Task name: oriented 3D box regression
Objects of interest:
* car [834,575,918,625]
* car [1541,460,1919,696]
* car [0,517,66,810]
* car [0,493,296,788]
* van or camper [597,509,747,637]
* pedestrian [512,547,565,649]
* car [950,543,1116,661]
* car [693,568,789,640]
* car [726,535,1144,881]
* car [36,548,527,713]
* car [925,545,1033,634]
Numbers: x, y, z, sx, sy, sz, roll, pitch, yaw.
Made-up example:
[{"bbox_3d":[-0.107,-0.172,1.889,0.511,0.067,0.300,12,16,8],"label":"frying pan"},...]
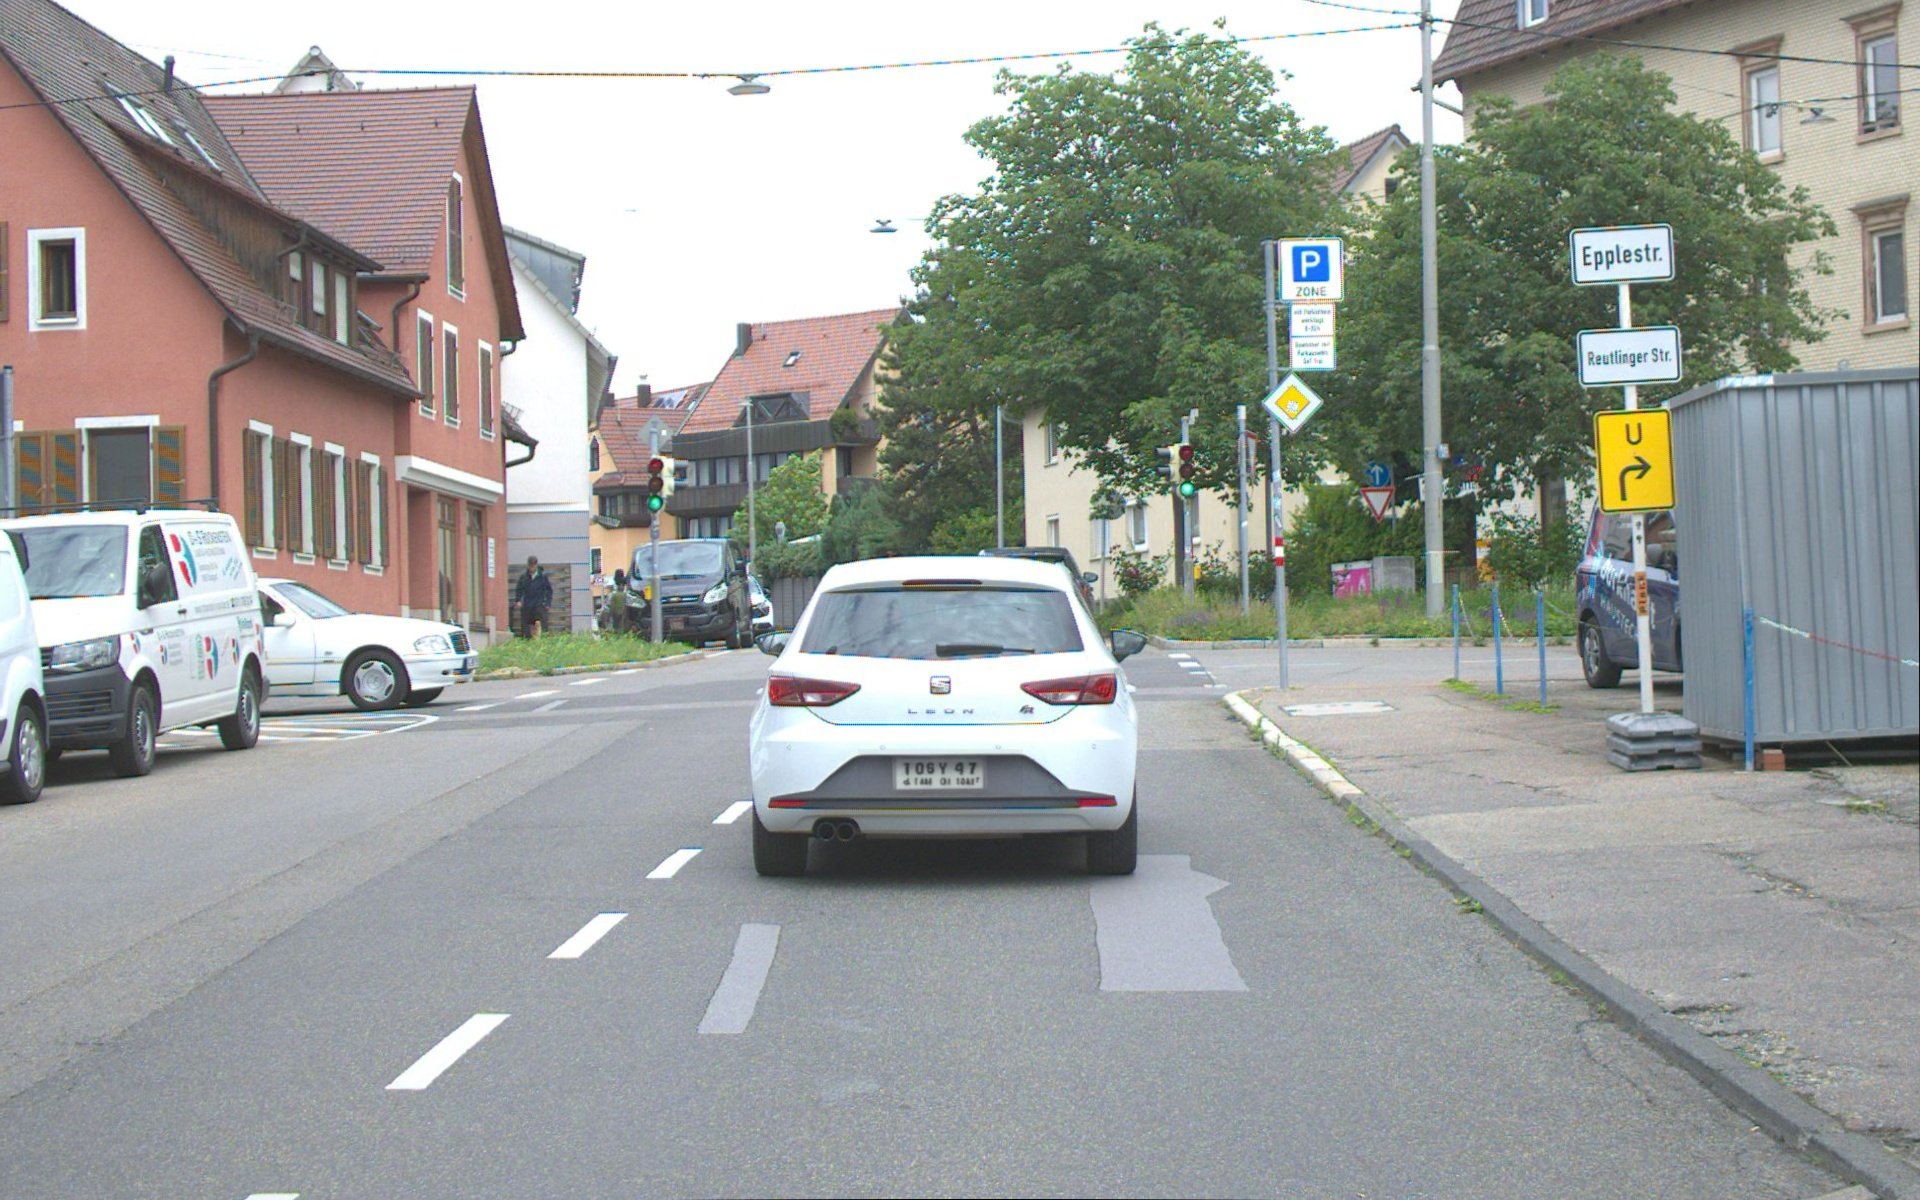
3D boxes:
[{"bbox_3d":[-2.604,0.022,106.050,1.758,1.447,4.001,1,-1,-14],"label":"car"},{"bbox_3d":[6.369,-0.214,28.808,1.746,1.733,4.573,-3,1,-5],"label":"car"},{"bbox_3d":[-6.887,0.457,20.718,1.733,1.825,4.298,-3,1,1],"label":"car"},{"bbox_3d":[-6.599,0.254,26.207,1.812,1.999,4.763,-3,1,3],"label":"car"},{"bbox_3d":[-5.022,-0.436,60.530,2.073,1.999,4.857,-3,-1,1],"label":"van or camper"},{"bbox_3d":[-7.415,-0.036,60.544,0.800,1.778,0.893,-1,1,1],"label":"pedestrian"},{"bbox_3d":[0.905,0.044,44.637,1.758,1.447,4.000,-1,-1,-4],"label":"car"},{"bbox_3d":[-5.150,0.099,80.402,1.997,1.627,4.858,0,0,-7],"label":"car"},{"bbox_3d":[-0.031,0.433,16.640,1.758,1.447,4.000,-1,1,2],"label":"car"},{"bbox_3d":[-6.981,0.294,35.657,4.554,1.440,2.000,-3,1,5],"label":"car"},{"bbox_3d":[0.294,-0.158,58.999,1.758,1.447,4.000,-1,-1,-1],"label":"car"}]
